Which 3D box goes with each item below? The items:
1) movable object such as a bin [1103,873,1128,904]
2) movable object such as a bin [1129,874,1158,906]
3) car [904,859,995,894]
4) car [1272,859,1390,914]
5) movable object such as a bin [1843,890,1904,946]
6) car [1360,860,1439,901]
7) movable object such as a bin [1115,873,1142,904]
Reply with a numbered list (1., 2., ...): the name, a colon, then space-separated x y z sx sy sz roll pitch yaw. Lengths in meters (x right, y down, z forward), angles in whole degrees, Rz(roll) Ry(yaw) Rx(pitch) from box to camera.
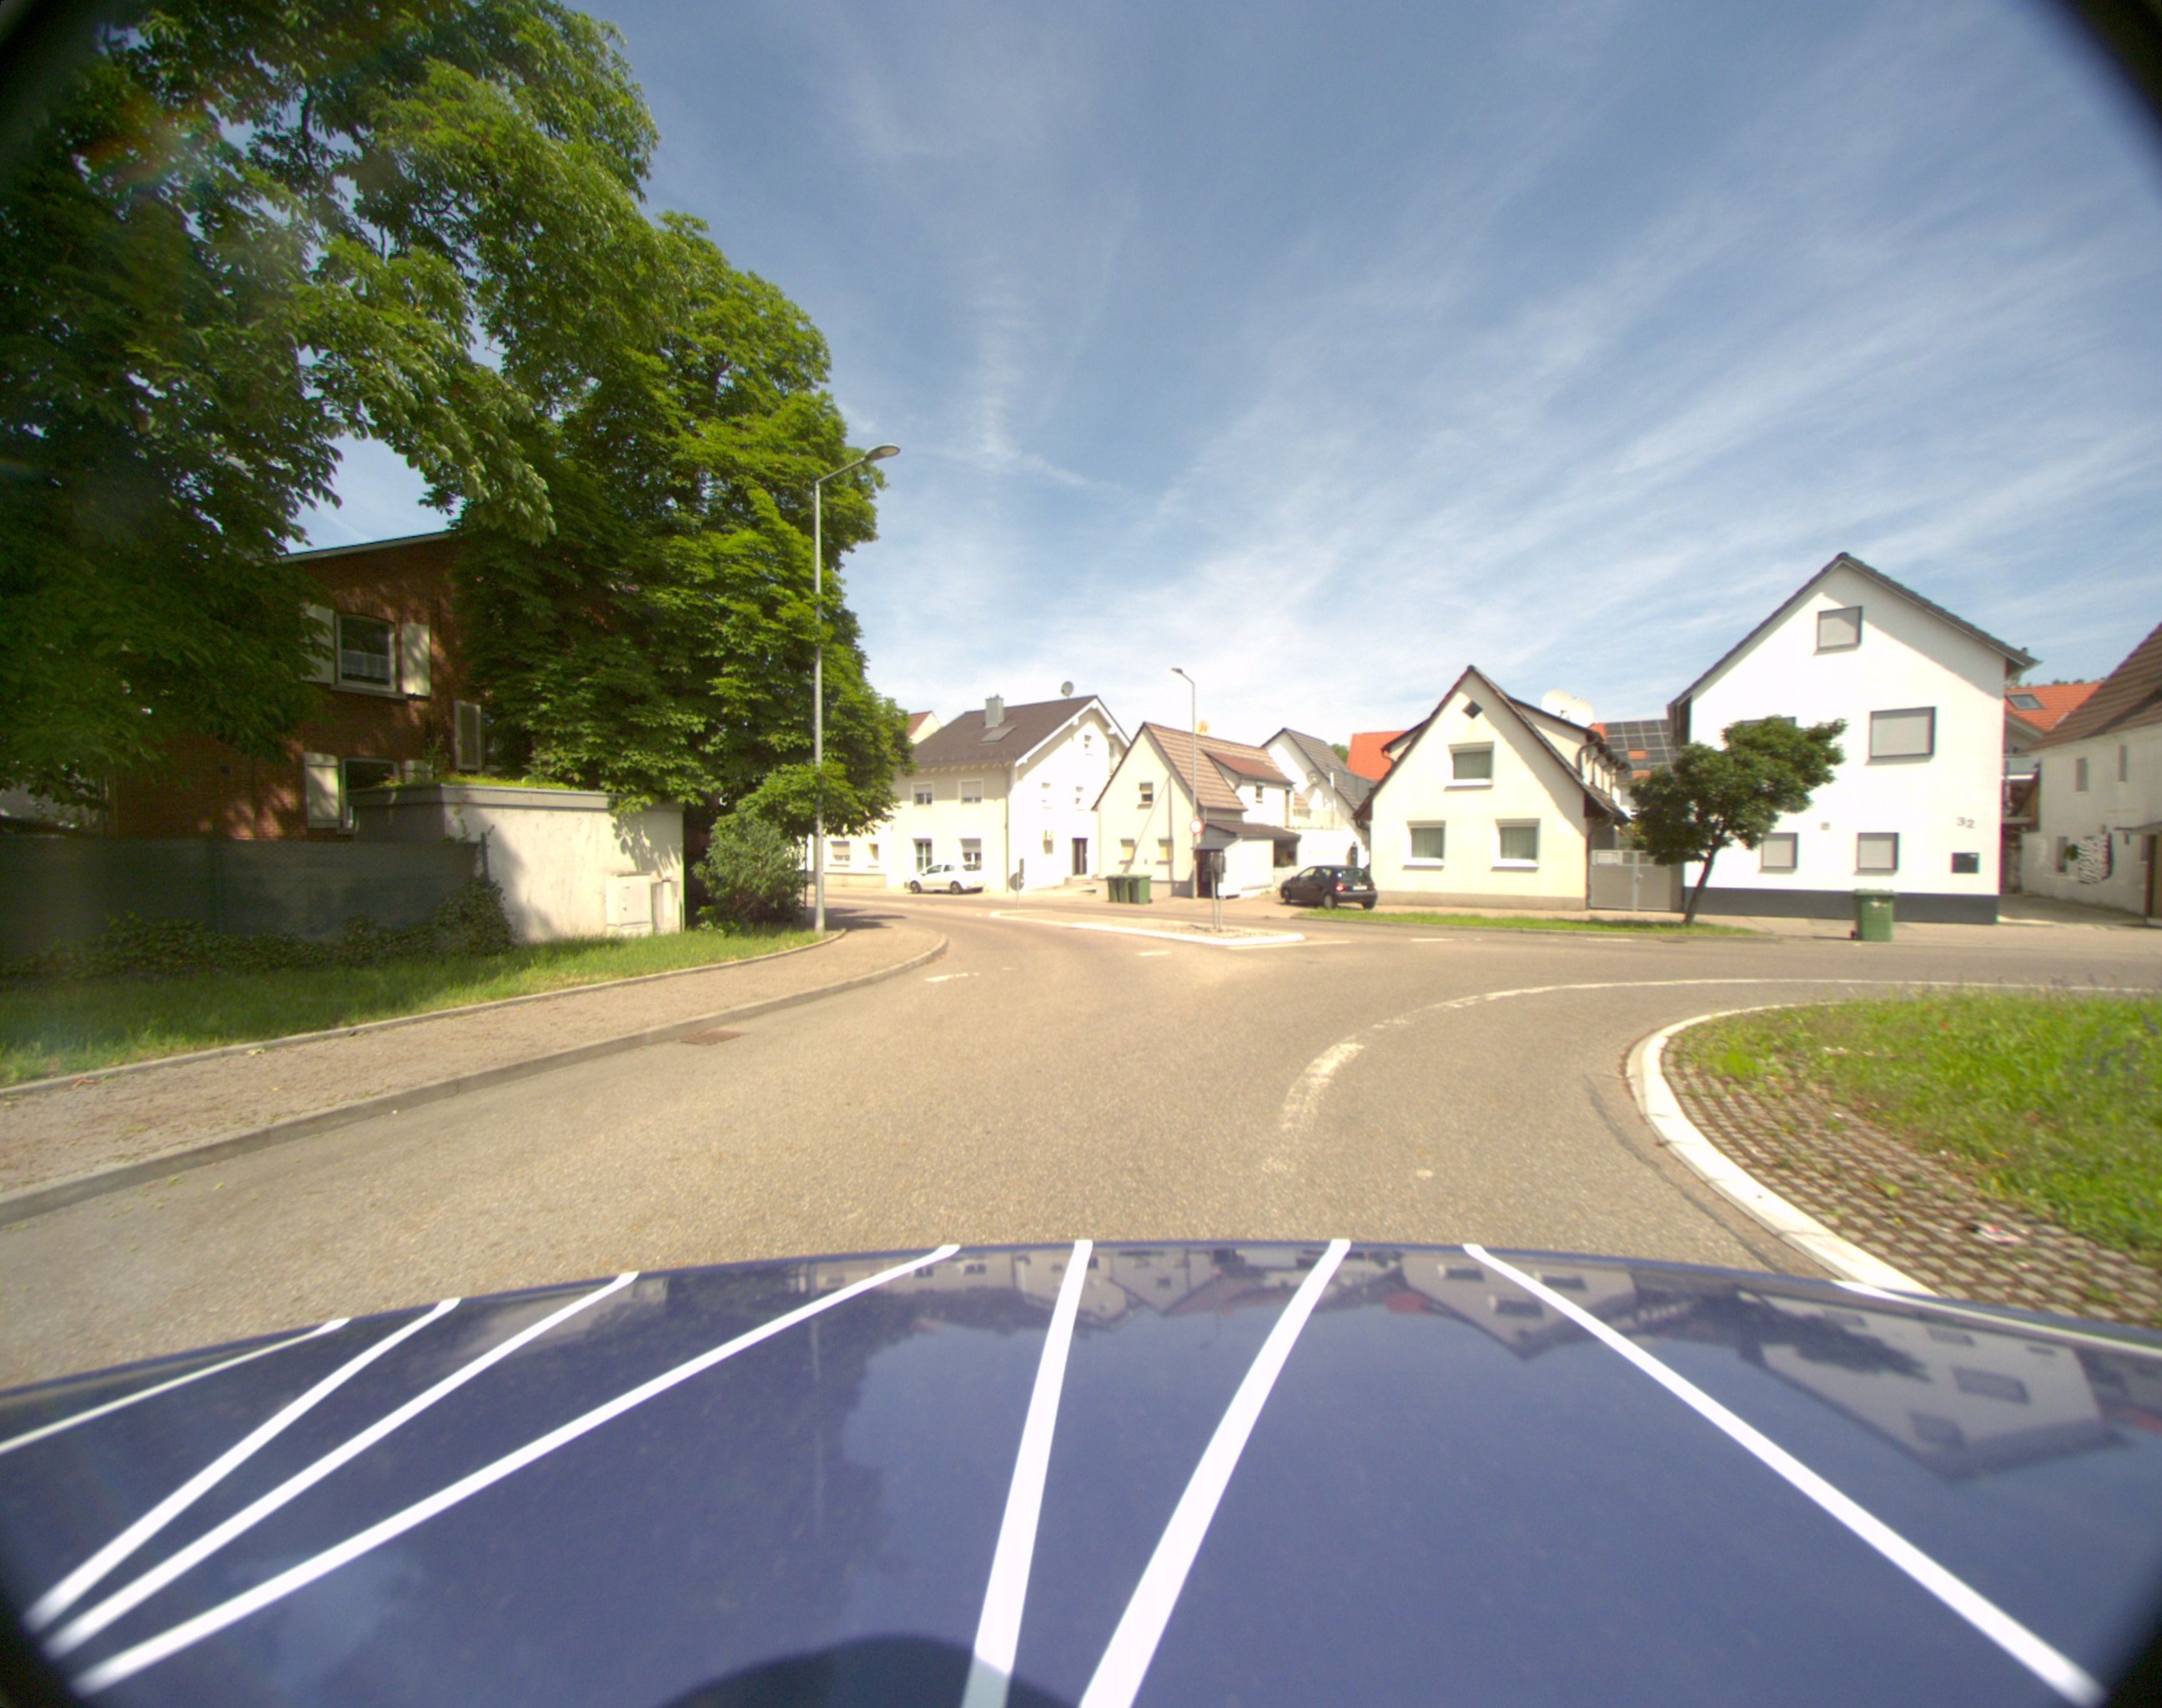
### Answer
1. movable object such as a bin: 1.305 1.279 28.596 0.644 1.087 0.630 -4 3 -42
2. movable object such as a bin: 2.267 1.289 27.558 0.684 1.071 0.723 -4 3 -42
3. car: -6.212 1.029 35.863 3.989 1.494 1.829 0 2 32
4. car: 8.152 1.008 25.132 1.780 1.433 3.839 -3 3 -17
5. movable object such as a bin: 15.875 1.265 15.233 0.578 1.042 0.905 0 0 27
6. car: 13.647 1.079 32.449 1.994 1.635 3.879 0 0 41
7. movable object such as a bin: 1.755 1.281 28.088 0.734 1.071 0.631 -4 3 -42
